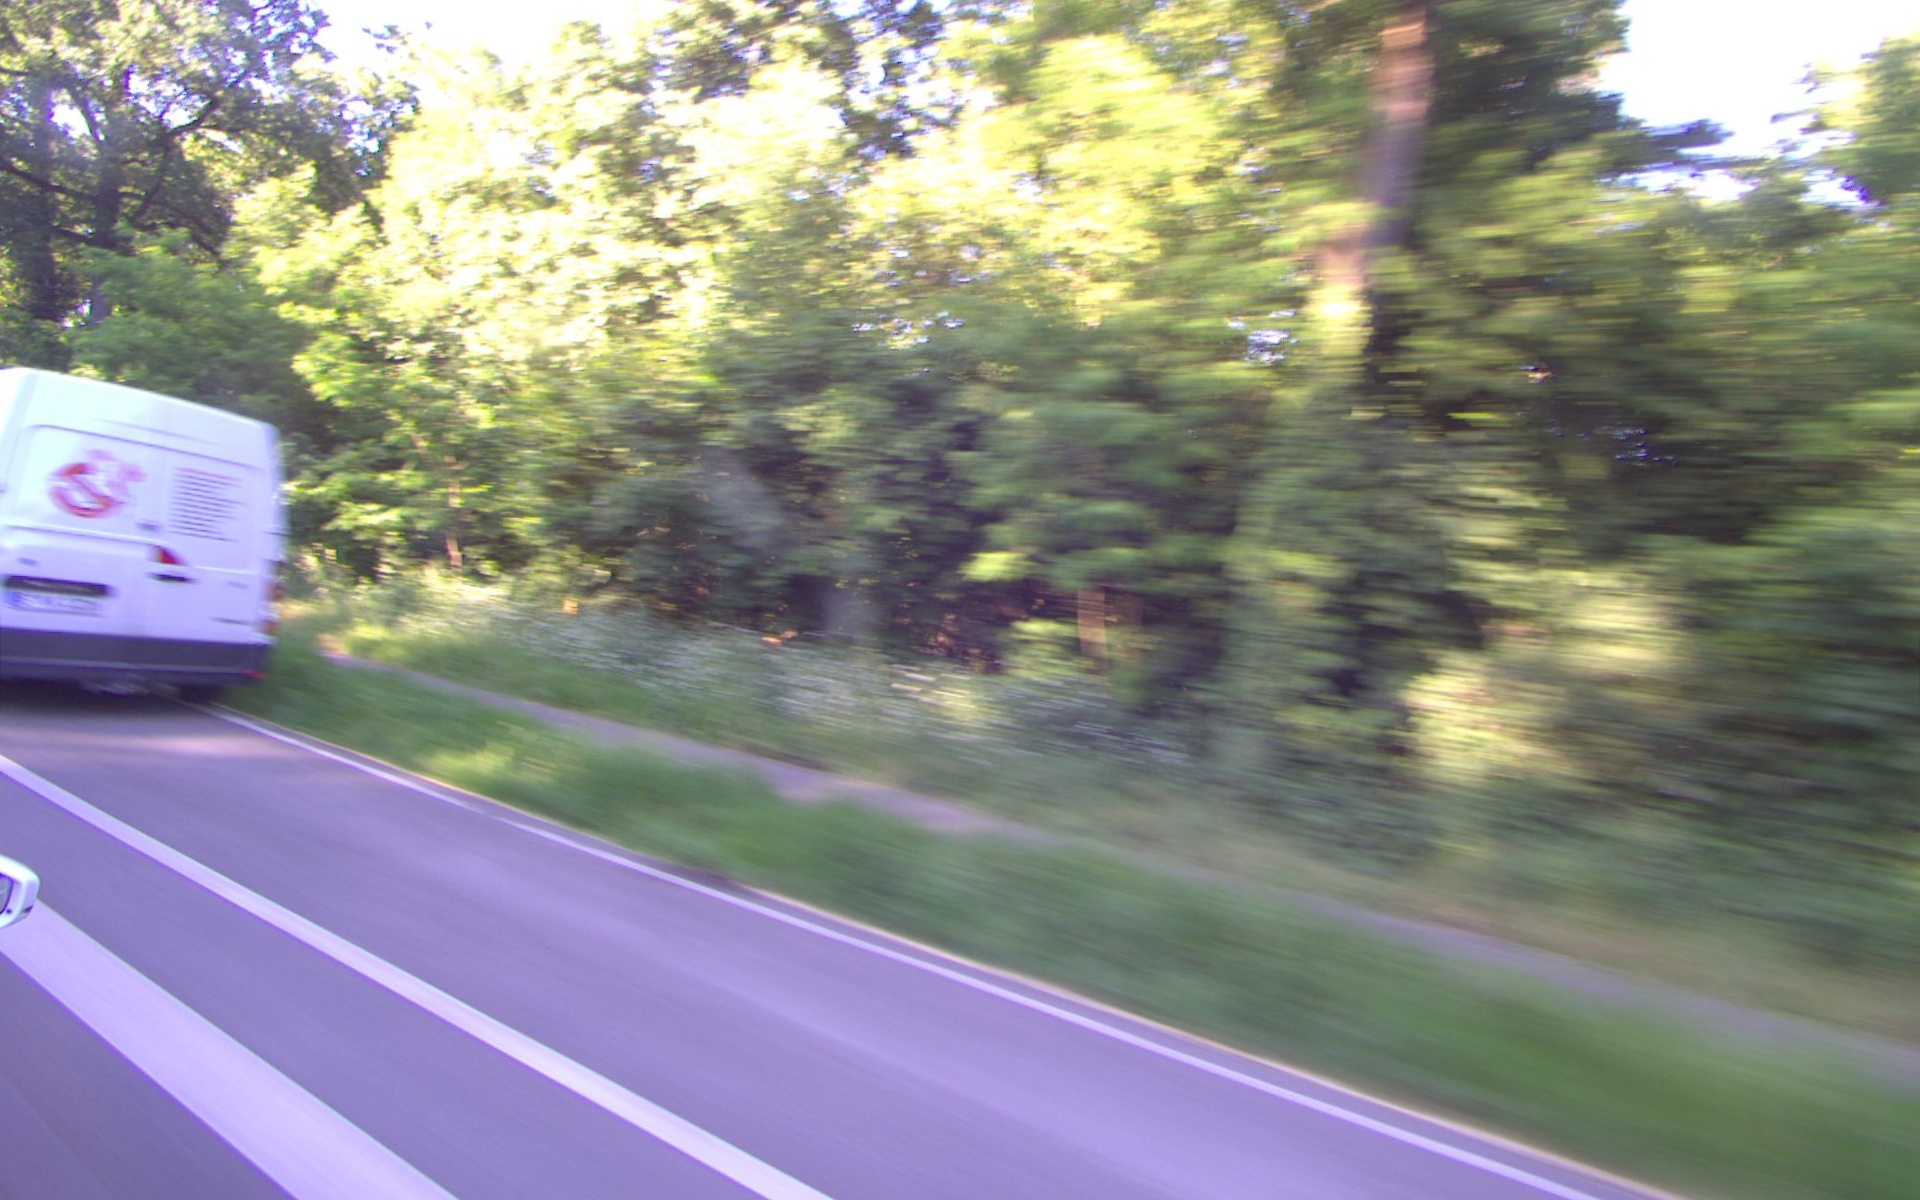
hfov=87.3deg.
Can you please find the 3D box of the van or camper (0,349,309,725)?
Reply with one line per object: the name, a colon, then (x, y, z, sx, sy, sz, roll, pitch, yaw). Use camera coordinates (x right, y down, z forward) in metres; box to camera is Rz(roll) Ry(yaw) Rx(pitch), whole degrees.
van or camper: (-8.634, -0.655, 9.052, 6.201, 2.513, 2.128, 7, 0, 33)
